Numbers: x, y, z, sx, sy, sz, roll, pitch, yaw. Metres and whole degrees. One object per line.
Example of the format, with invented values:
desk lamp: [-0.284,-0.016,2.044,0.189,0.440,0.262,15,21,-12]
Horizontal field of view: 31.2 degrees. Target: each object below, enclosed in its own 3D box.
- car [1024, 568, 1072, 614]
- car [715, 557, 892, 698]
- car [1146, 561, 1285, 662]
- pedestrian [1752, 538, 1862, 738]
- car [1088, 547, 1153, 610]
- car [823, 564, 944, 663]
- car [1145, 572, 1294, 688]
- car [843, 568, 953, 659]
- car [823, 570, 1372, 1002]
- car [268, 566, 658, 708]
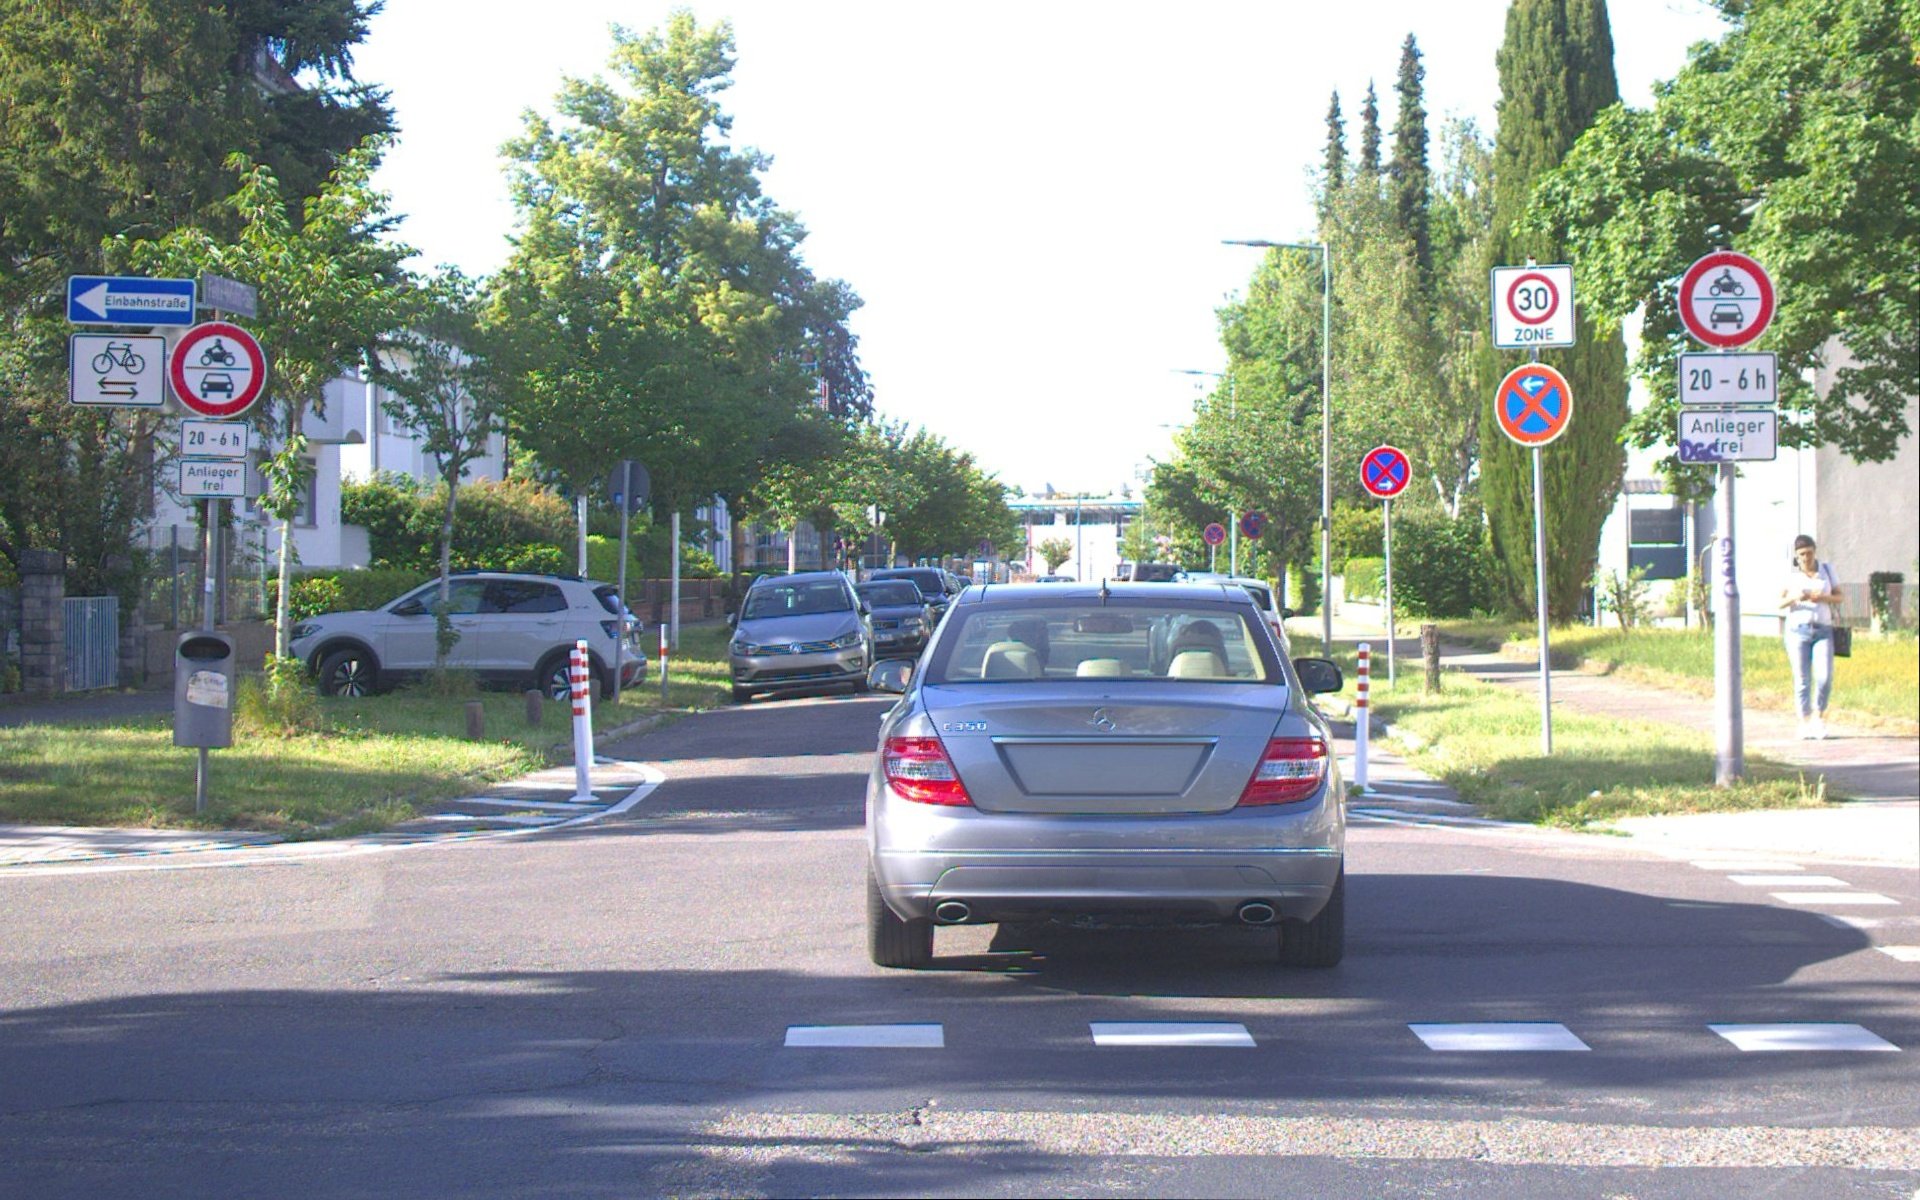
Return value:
car: [3.129,-0.339,122.536,1.597,1.604,3.644,0,1,0]
car: [-1.960,0.314,44.305,1.993,1.604,4.000,-4,1,0]
car: [4.200,0.159,57.023,1.993,1.604,4.000,0,1,0]
pedestrian: [6.890,0.301,28.002,0.766,1.605,0.834,0,0,7]
car: [4.742,-0.649,102.002,1.855,1.835,4.000,0,1,1]
car: [-1.342,0.209,62.104,1.993,1.604,4.000,-4,1,0]
car: [3.457,0.376,46.336,1.733,1.475,3.725,0,1,0]
car: [-1.189,0.241,67.897,1.993,1.604,4.000,-4,1,0]
car: [0.570,0.608,13.590,1.836,1.436,4.000,1,0,3]
car: [-5.628,0.406,39.300,4.192,1.558,1.842,0,0,-1]
